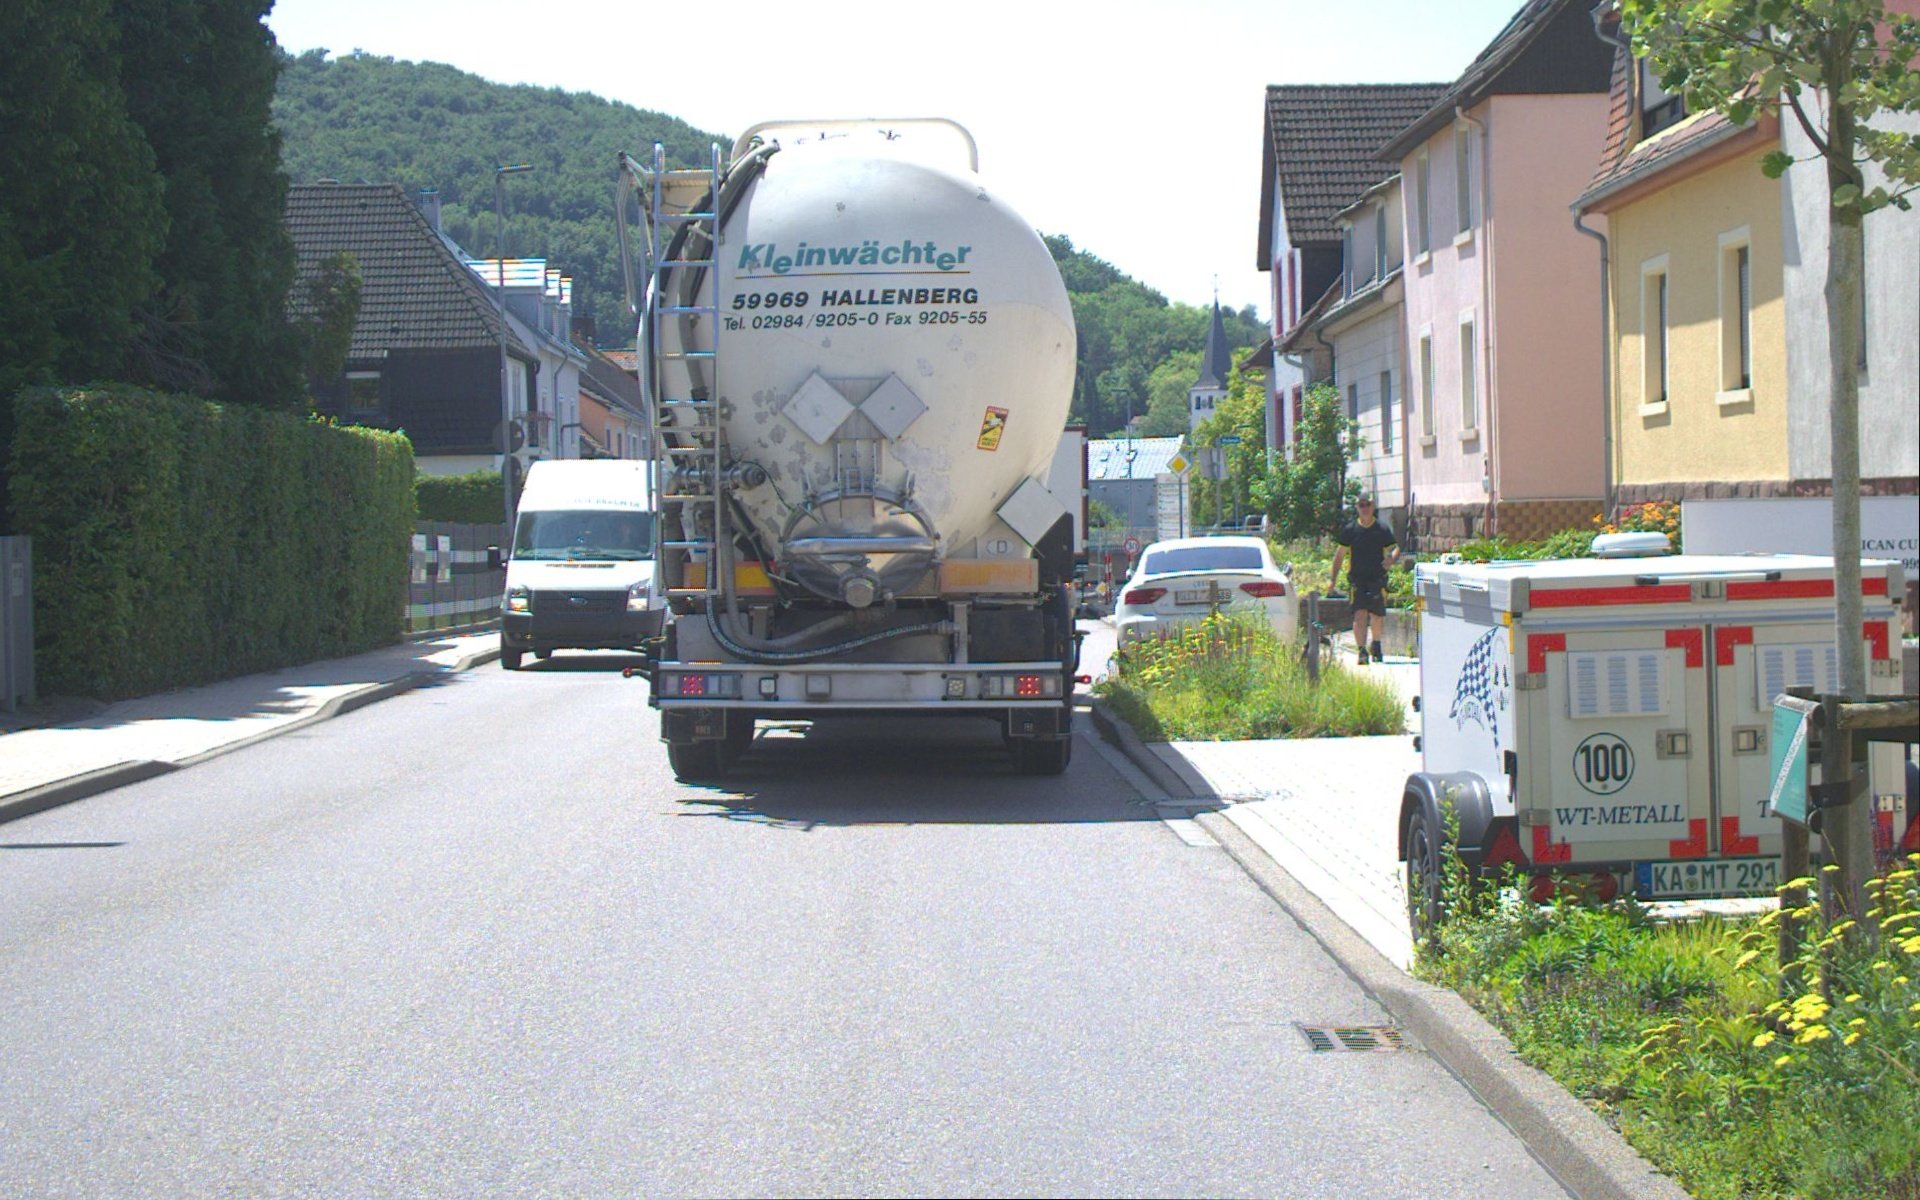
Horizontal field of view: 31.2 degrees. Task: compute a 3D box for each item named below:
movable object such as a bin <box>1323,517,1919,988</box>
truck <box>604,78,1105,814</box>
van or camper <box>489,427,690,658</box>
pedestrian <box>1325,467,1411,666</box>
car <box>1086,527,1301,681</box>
[{"bbox_3d":[2.284,0.464,12.106,1.571,1.412,3.042,-2,0,-2],"label":"movable object such as a bin"},{"bbox_3d":[-0.720,-0.945,24.363,2.750,4.043,10.890,0,1,-2],"label":"truck"},{"bbox_3d":[-4.602,-0.679,43.525,2.037,2.704,5.824,1,0,-1],"label":"van or camper"},{"bbox_3d":[4.180,-0.340,35.300,0.746,2.007,1.033,1,0,0],"label":"pedestrian"},{"bbox_3d":[2.355,0.052,35.666,1.756,1.413,4.633,-3,0,-1],"label":"car"}]
